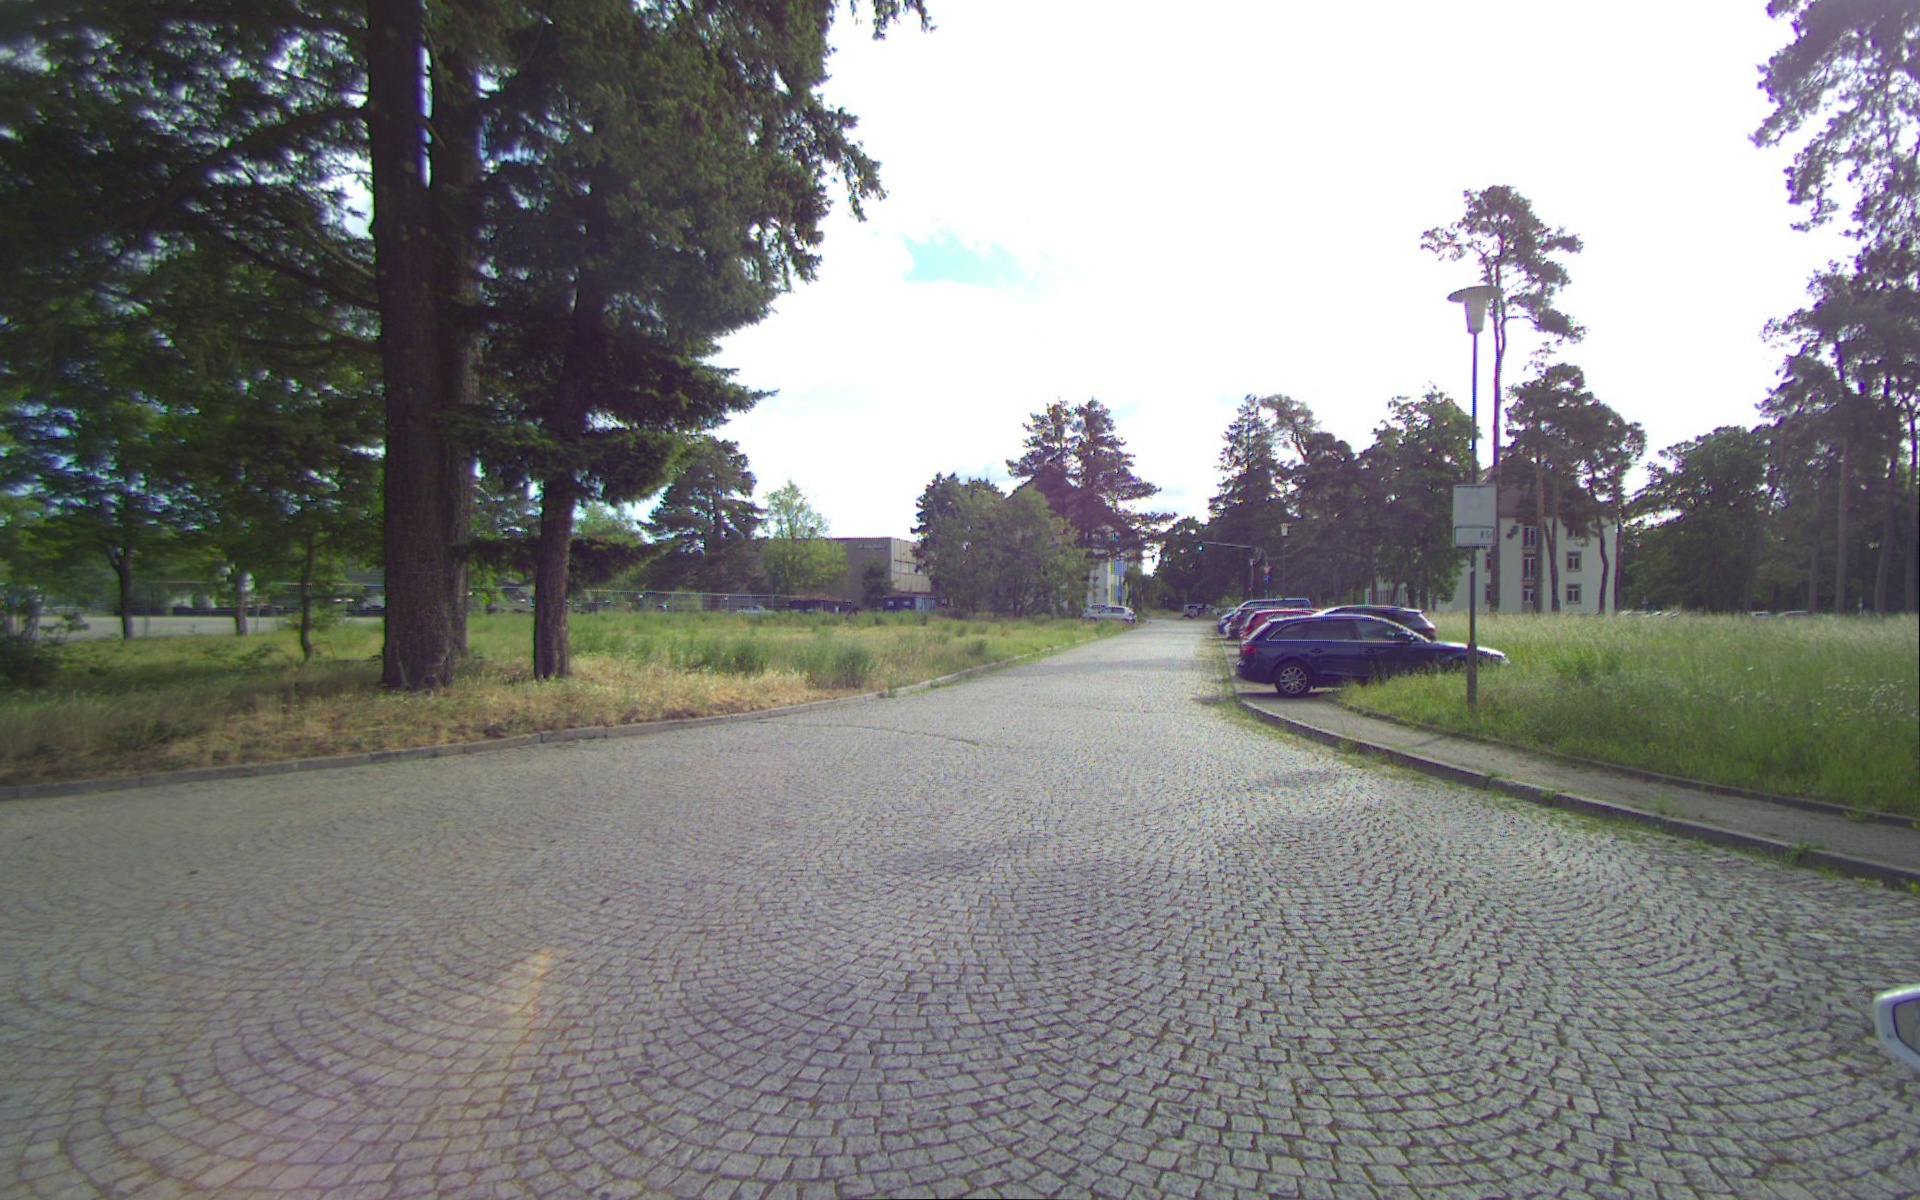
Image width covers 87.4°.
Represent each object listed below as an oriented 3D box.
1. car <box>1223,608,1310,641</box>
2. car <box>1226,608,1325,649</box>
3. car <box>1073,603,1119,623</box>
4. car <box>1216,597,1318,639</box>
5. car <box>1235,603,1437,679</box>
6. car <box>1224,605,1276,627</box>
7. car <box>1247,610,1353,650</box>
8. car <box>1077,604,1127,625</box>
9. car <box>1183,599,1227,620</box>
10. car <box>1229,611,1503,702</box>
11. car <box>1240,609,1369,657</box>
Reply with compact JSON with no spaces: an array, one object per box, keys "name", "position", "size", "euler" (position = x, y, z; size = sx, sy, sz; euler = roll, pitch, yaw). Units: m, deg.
[{"name":"car","position":[14.823,1.197,48.814],"size":[3.853,1.411,1.744],"euler":[-3,0,13]},{"name":"car","position":[13.338,1.189,42.644],"size":[3.839,1.625,1.822],"euler":[1,0,12]},{"name":"car","position":[11.010,1.069,81.539],"size":[3.656,1.457,1.627],"euler":[-2,0,6]},{"name":"car","position":[15.608,0.917,51.340],"size":[4.739,1.890,2.163],"euler":[-3,0,12]},{"name":"car","position":[8.372,0.893,22.712],"size":[4.067,1.594,1.791],"euler":[0,1,13]},{"name":"car","position":[21.387,1.176,74.272],"size":[3.386,1.451,1.629],"euler":[-3,0,4]},{"name":"car","position":[13.383,1.162,39.763],"size":[3.874,1.540,1.708],"euler":[0,-1,14]},{"name":"car","position":[10.777,1.074,76.050],"size":[3.656,1.457,1.627],"euler":[-2,0,10]},{"name":"car","position":[34.208,1.351,140.391],"size":[5.682,2.596,2.771],"euler":[-3,0,9]},{"name":"car","position":[7.119,0.967,18.025],"size":[4.357,1.499,1.682],"euler":[-1,-1,18]},{"name":"car","position":[11.095,1.074,32.603],"size":[3.818,1.498,1.672],"euler":[-1,-1,14]}]
